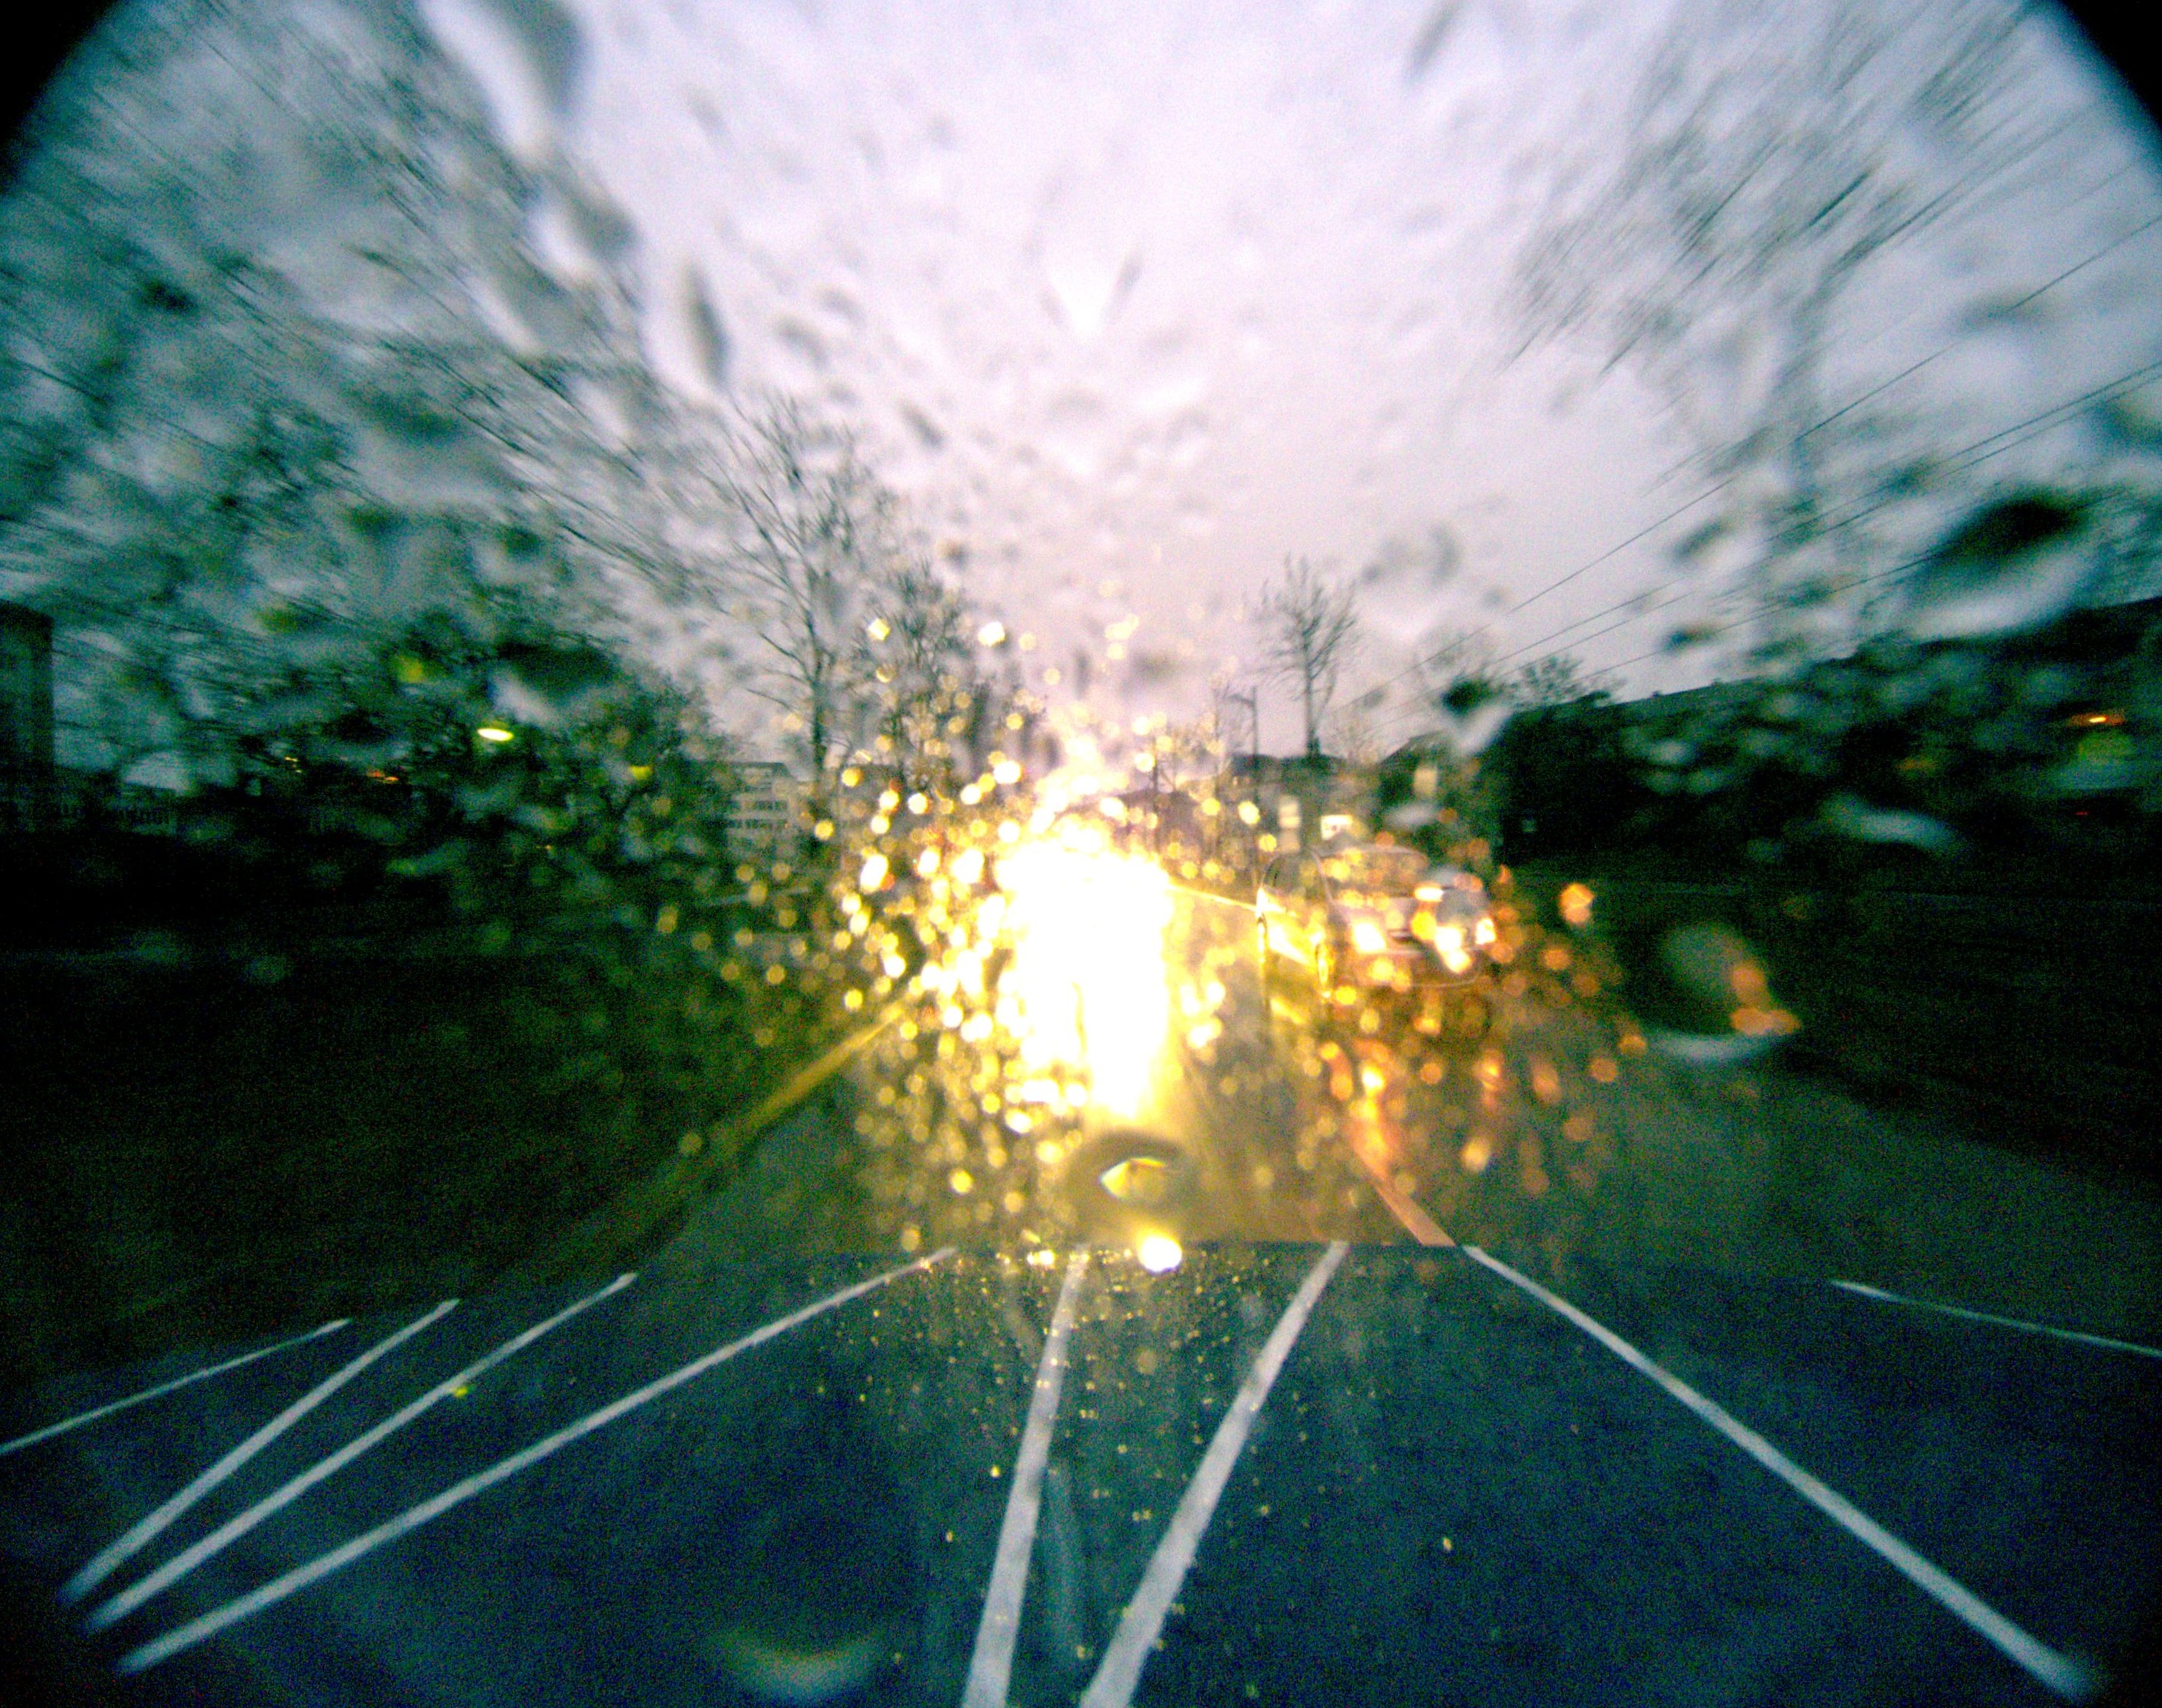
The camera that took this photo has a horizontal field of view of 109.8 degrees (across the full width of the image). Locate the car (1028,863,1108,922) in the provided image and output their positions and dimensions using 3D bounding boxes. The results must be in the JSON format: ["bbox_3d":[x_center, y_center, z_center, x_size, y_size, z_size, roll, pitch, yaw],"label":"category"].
[{"bbox_3d":[-0.420,0.946,20.378,1.897,1.347,4.288,-1,0,-3],"label":"car"}]

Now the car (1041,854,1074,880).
[{"bbox_3d":[-1.586,0.832,50.281,1.950,1.546,4.215,-3,0,-4],"label":"car"}]

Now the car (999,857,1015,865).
[{"bbox_3d":[-13.016,1.205,133.390,2.002,1.316,3.993,-1,0,-20],"label":"car"}]

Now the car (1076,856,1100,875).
[{"bbox_3d":[0.606,0.985,66.848,1.949,1.546,4.216,-3,0,-1],"label":"car"}]

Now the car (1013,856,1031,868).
[{"bbox_3d":[-8.231,1.110,104.987,1.951,1.546,4.213,-3,0,-11],"label":"car"}]

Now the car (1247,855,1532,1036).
[{"bbox_3d":[3.178,0.817,8.720,1.669,1.566,3.922,-1,0,0],"label":"car"}]

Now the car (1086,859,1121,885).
[{"bbox_3d":[1.413,1.132,49.653,1.845,1.546,4.216,-3,0,-3],"label":"car"}]

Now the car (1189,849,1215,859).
[{"bbox_3d":[25.093,0.010,157.684,4.680,1.846,2.323,-1,0,-26],"label":"car"}]

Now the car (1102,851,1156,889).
[{"bbox_3d":[2.155,0.693,35.057,1.924,1.546,4.215,-3,0,-4],"label":"car"}]
